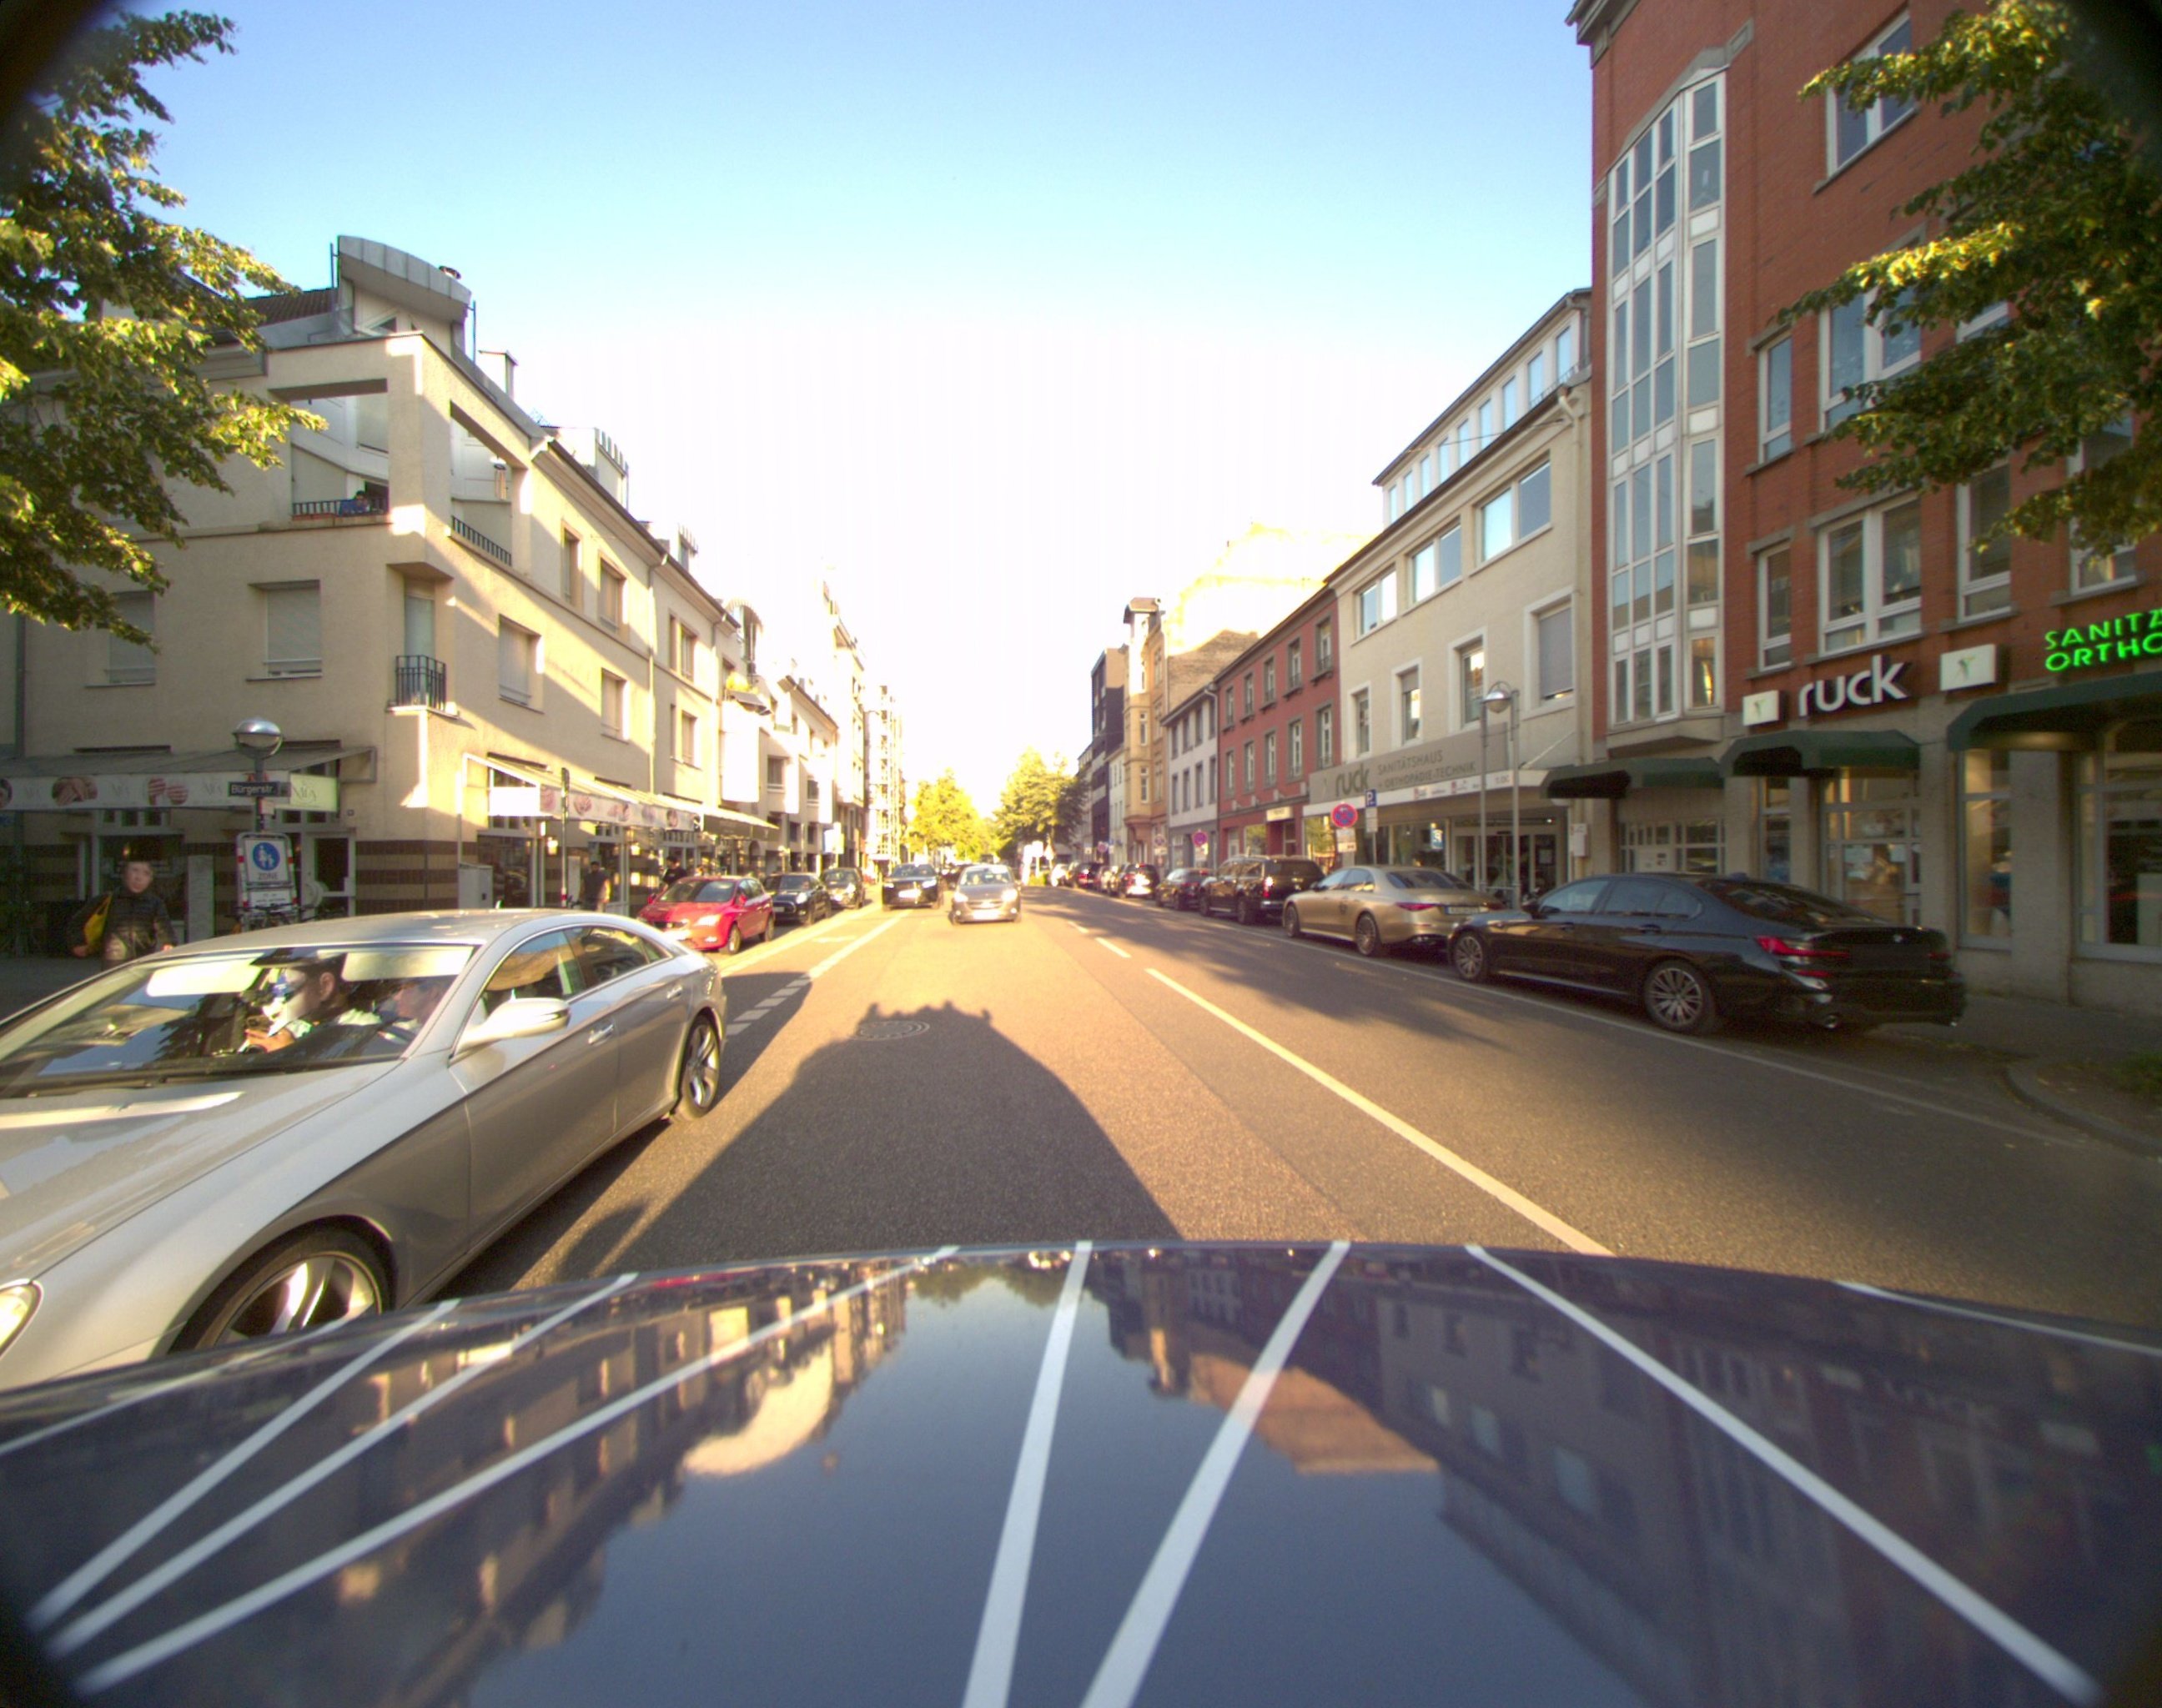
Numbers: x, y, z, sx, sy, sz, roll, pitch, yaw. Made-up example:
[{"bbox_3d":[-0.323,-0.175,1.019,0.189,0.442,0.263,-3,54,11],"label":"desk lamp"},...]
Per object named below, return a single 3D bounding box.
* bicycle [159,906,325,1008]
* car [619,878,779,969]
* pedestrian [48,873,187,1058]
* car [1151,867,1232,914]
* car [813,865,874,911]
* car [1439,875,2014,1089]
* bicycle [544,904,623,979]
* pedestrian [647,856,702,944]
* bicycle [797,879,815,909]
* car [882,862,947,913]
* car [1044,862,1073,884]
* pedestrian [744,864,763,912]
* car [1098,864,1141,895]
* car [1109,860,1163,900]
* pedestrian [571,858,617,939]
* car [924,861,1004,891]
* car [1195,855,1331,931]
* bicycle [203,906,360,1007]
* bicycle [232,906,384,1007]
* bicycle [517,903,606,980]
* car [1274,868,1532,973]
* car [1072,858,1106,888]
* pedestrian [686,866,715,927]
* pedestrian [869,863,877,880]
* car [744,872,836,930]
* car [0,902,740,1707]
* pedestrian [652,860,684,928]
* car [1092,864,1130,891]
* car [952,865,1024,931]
[{"bbox_3d":[-11.093,1.312,10.145,0.322,1.098,1.878,-1,0,-7],"label":"bicycle"},{"bbox_3d":[-7.202,1.225,14.754,1.594,1.425,3.923,0,0,-8],"label":"car"},{"bbox_3d":[-9.452,1.038,7.460,0.795,1.666,0.704,2,1,28],"label":"pedestrian"},{"bbox_3d":[3.754,1.220,26.544,1.707,1.429,4.012,2,-1,-8],"label":"car"},{"bbox_3d":[-9.039,1.258,29.219,1.622,1.583,3.923,-1,0,-8],"label":"car"},{"bbox_3d":[5.871,1.013,7.861,1.726,1.464,4.538,2,-1,-7],"label":"car"},{"bbox_3d":[-8.033,1.378,12.342,0.315,1.040,1.664,0,0,-5],"label":"bicycle"},{"bbox_3d":[-9.065,1.008,16.973,0.779,1.872,0.669,-4,1,-8],"label":"pedestrian"},{"bbox_3d":[-10.615,1.515,29.388,0.296,1.079,1.462,-1,0,-7],"label":"bicycle"},{"bbox_3d":[-5.938,1.126,27.476,1.891,1.626,4.224,-2,0,-8],"label":"car"},{"bbox_3d":[-1.655,1.349,54.869,1.674,1.512,3.562,1,0,-8],"label":"car"},{"bbox_3d":[-12.618,1.300,29.287,0.577,1.789,0.449,-3,1,-25],"label":"pedestrian"},{"bbox_3d":[1.996,1.302,40.088,1.690,1.461,3.689,2,-1,-6],"label":"car"},{"bbox_3d":[2.458,1.144,34.934,1.726,1.673,4.047,2,-1,-6],"label":"car"},{"bbox_3d":[-10.761,0.966,16.816,0.631,1.739,0.669,0,0,-8],"label":"pedestrian"},{"bbox_3d":[-6.577,1.224,43.118,4.293,1.665,1.736,0,0,-2],"label":"car"},{"bbox_3d":[4.657,0.952,20.289,1.726,1.768,4.935,1,-1,-9],"label":"car"},{"bbox_3d":[-10.604,1.312,10.172,0.291,1.098,1.886,-1,0,-7],"label":"bicycle"},{"bbox_3d":[-10.295,1.311,10.216,0.322,1.098,1.878,-1,0,-7],"label":"bicycle"},{"bbox_3d":[-8.382,1.368,12.341,0.315,1.040,1.881,0,0,-5],"label":"bicycle"},{"bbox_3d":[5.331,1.024,13.560,2.000,1.463,5.104,1,-1,-6],"label":"car"},{"bbox_3d":[0.479,1.144,47.877,1.674,1.763,3.563,2,-1,-6],"label":"car"},{"bbox_3d":[-10.210,1.139,20.399,0.521,1.583,0.408,2,0,-8],"label":"pedestrian"},{"bbox_3d":[-15.902,1.320,58.080,0.492,1.256,0.421,-2,1,-7],"label":"pedestrian"},{"bbox_3d":[-8.195,1.276,21.740,1.622,1.425,3.923,0,0,-8],"label":"car"},{"bbox_3d":[-3.046,1.080,3.116,1.748,1.393,4.635,-1,1,-8],"label":"car"},{"bbox_3d":[-10.989,1.054,20.222,0.545,1.748,0.502,2,0,-8],"label":"pedestrian"},{"bbox_3d":[1.704,1.342,44.087,1.674,1.448,3.563,2,-1,-6],"label":"car"},{"bbox_3d":[-2.444,1.066,19.800,1.623,1.465,3.686,-2,0,-8],"label":"car"}]
